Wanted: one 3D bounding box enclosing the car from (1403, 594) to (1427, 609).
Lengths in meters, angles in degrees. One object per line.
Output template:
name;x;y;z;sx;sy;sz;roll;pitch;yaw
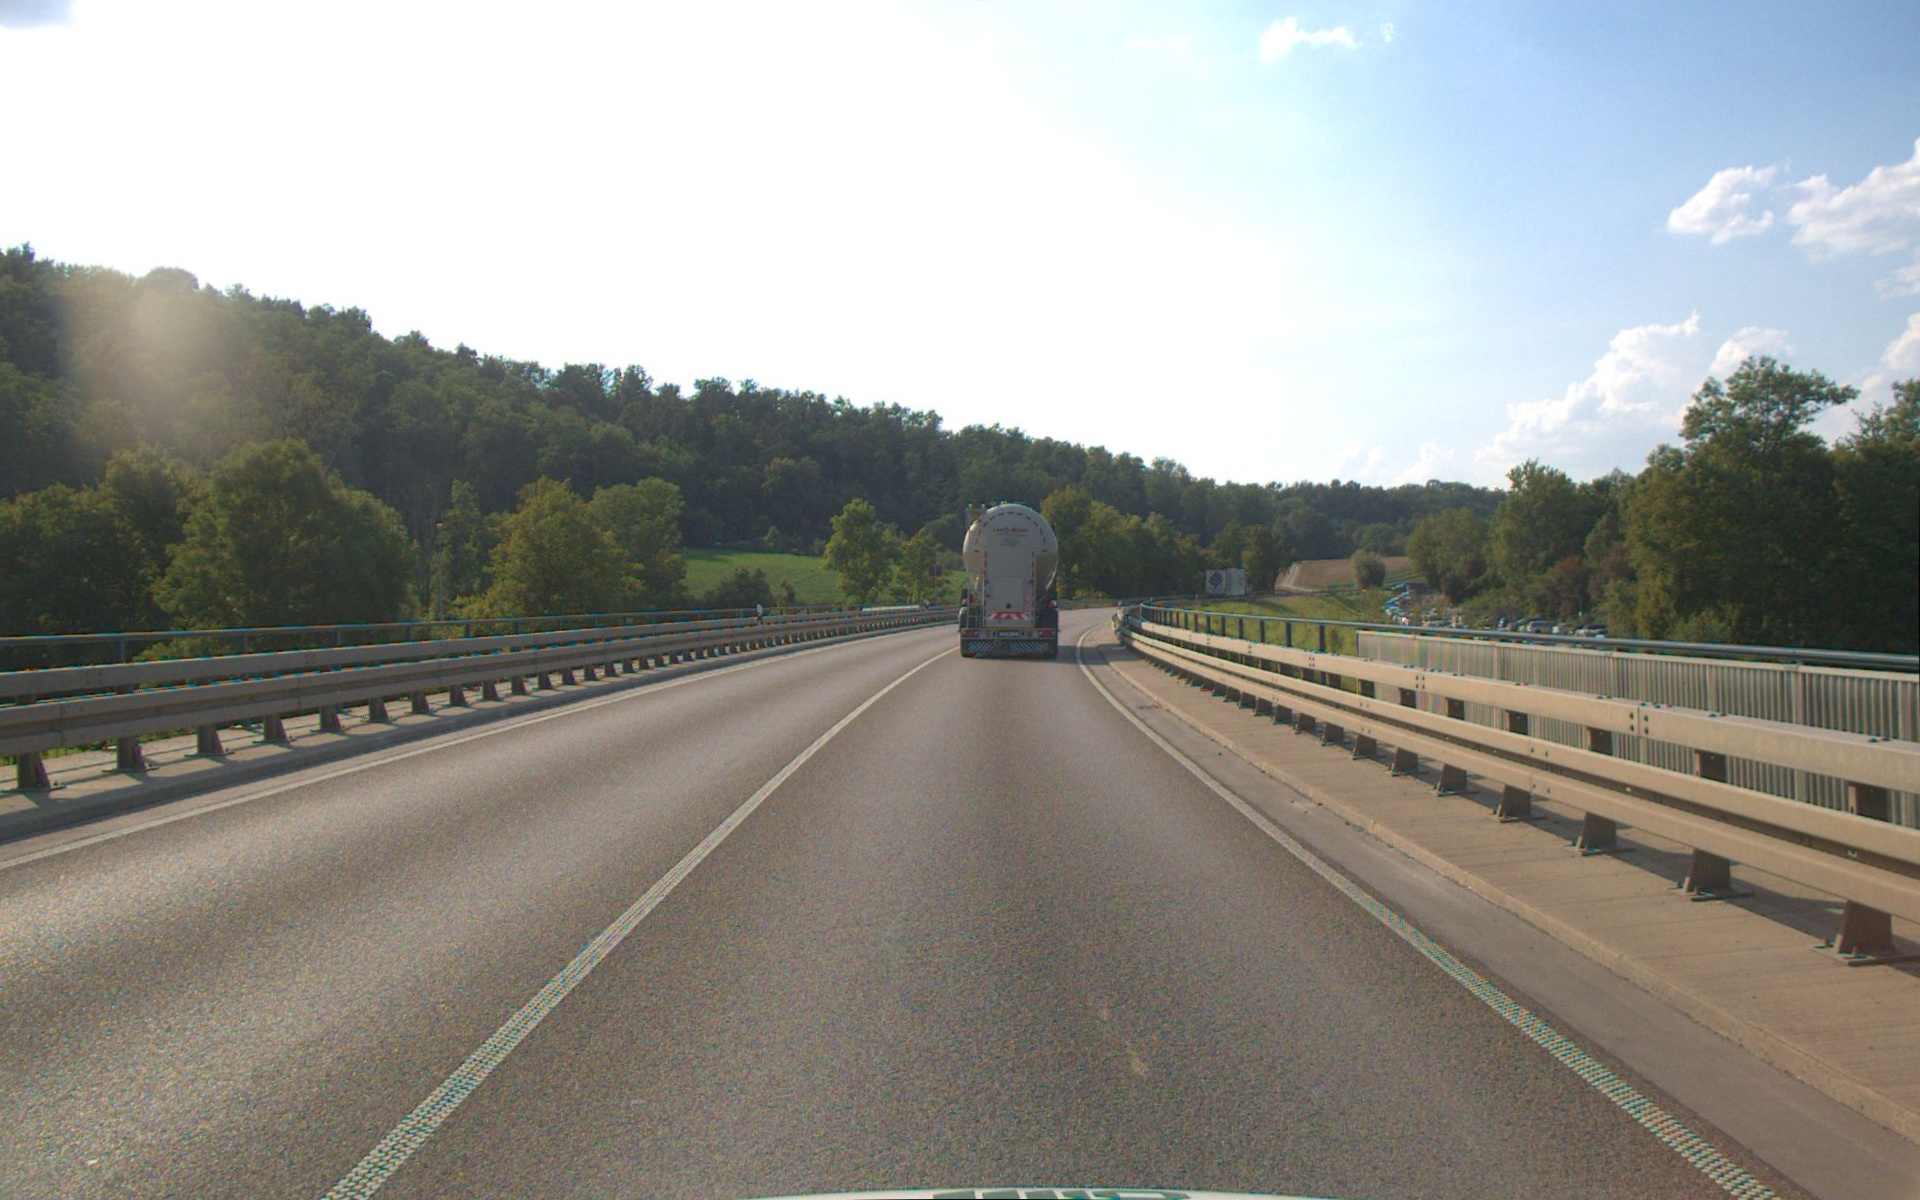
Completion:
car;56.104;0.144;204.173;1.852;1.507;4.786;-4;2;4

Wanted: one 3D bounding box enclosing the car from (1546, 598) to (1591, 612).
car;65.596;0.539;178.281;4.317;1.481;1.733;0;2;-6

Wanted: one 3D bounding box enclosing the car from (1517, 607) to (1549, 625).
car;53.178;1.488;153.614;1.620;1.522;4.224;0;1;1

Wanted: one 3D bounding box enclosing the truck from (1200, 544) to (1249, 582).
truck;32.059;-4.535;200.161;3.118;4.301;13.174;0;2;21

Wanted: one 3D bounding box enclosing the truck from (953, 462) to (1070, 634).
truck;1.499;-1.389;47.472;2.833;4.215;13.176;1;1;2
